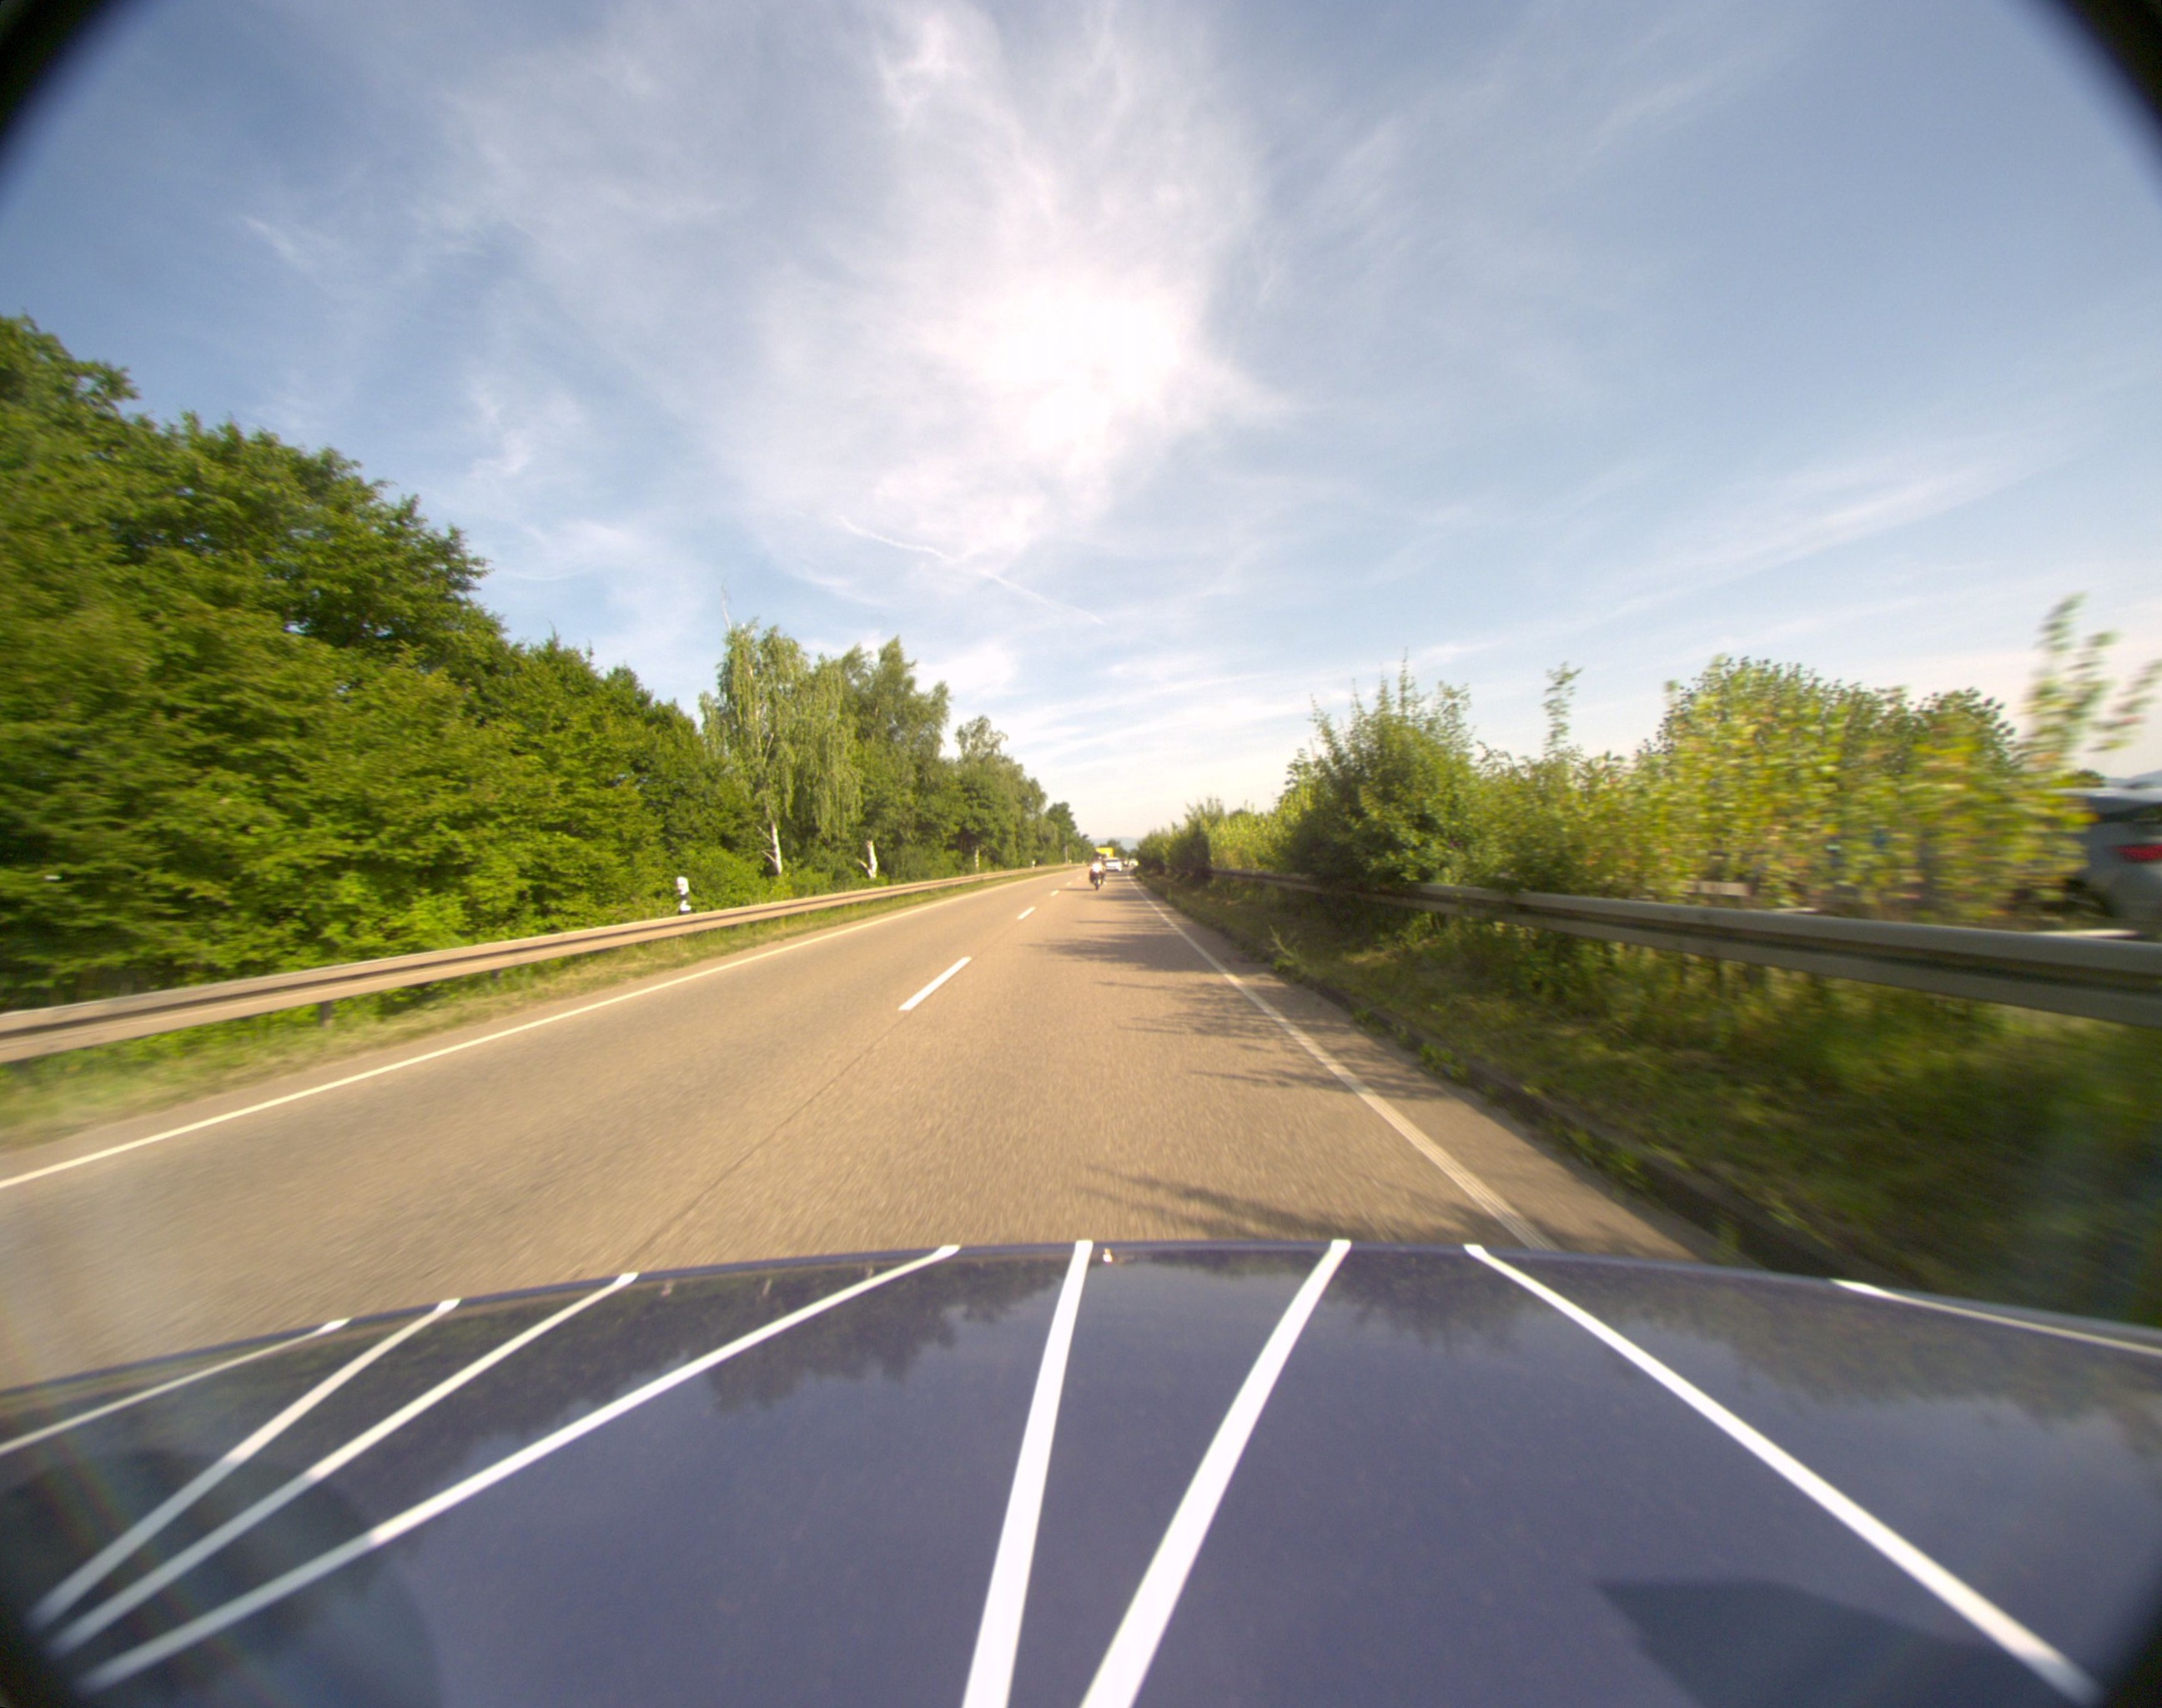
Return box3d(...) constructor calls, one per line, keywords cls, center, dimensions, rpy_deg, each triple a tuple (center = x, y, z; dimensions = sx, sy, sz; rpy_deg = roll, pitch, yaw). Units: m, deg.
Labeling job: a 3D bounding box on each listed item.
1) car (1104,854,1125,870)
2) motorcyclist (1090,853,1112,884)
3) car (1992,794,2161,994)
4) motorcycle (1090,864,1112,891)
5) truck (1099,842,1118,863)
box3d(cls="car", center=(3.344, 0.793, 75.531), dimensions=(1.869, 1.454, 4.085), rpy_deg=(-2, 0, 4))
box3d(cls="motorcyclist", center=(0.931, 0.655, 34.953), dimensions=(0.937, 1.344, 1.143), rpy_deg=(-2, 0, 3))
box3d(cls="car", center=(9.169, 0.283, 4.786), dimensions=(1.786, 1.546, 4.292), rpy_deg=(-2, 0, 2))
box3d(cls="motorcycle", center=(0.945, 1.065, 34.891), dimensions=(0.937, 1.131, 2.583), rpy_deg=(-2, 0, 3))
box3d(cls="truck", center=(4.903, -0.229, 135.041), dimensions=(2.785, 3.296, 10.495), rpy_deg=(-2, -1, 4))
